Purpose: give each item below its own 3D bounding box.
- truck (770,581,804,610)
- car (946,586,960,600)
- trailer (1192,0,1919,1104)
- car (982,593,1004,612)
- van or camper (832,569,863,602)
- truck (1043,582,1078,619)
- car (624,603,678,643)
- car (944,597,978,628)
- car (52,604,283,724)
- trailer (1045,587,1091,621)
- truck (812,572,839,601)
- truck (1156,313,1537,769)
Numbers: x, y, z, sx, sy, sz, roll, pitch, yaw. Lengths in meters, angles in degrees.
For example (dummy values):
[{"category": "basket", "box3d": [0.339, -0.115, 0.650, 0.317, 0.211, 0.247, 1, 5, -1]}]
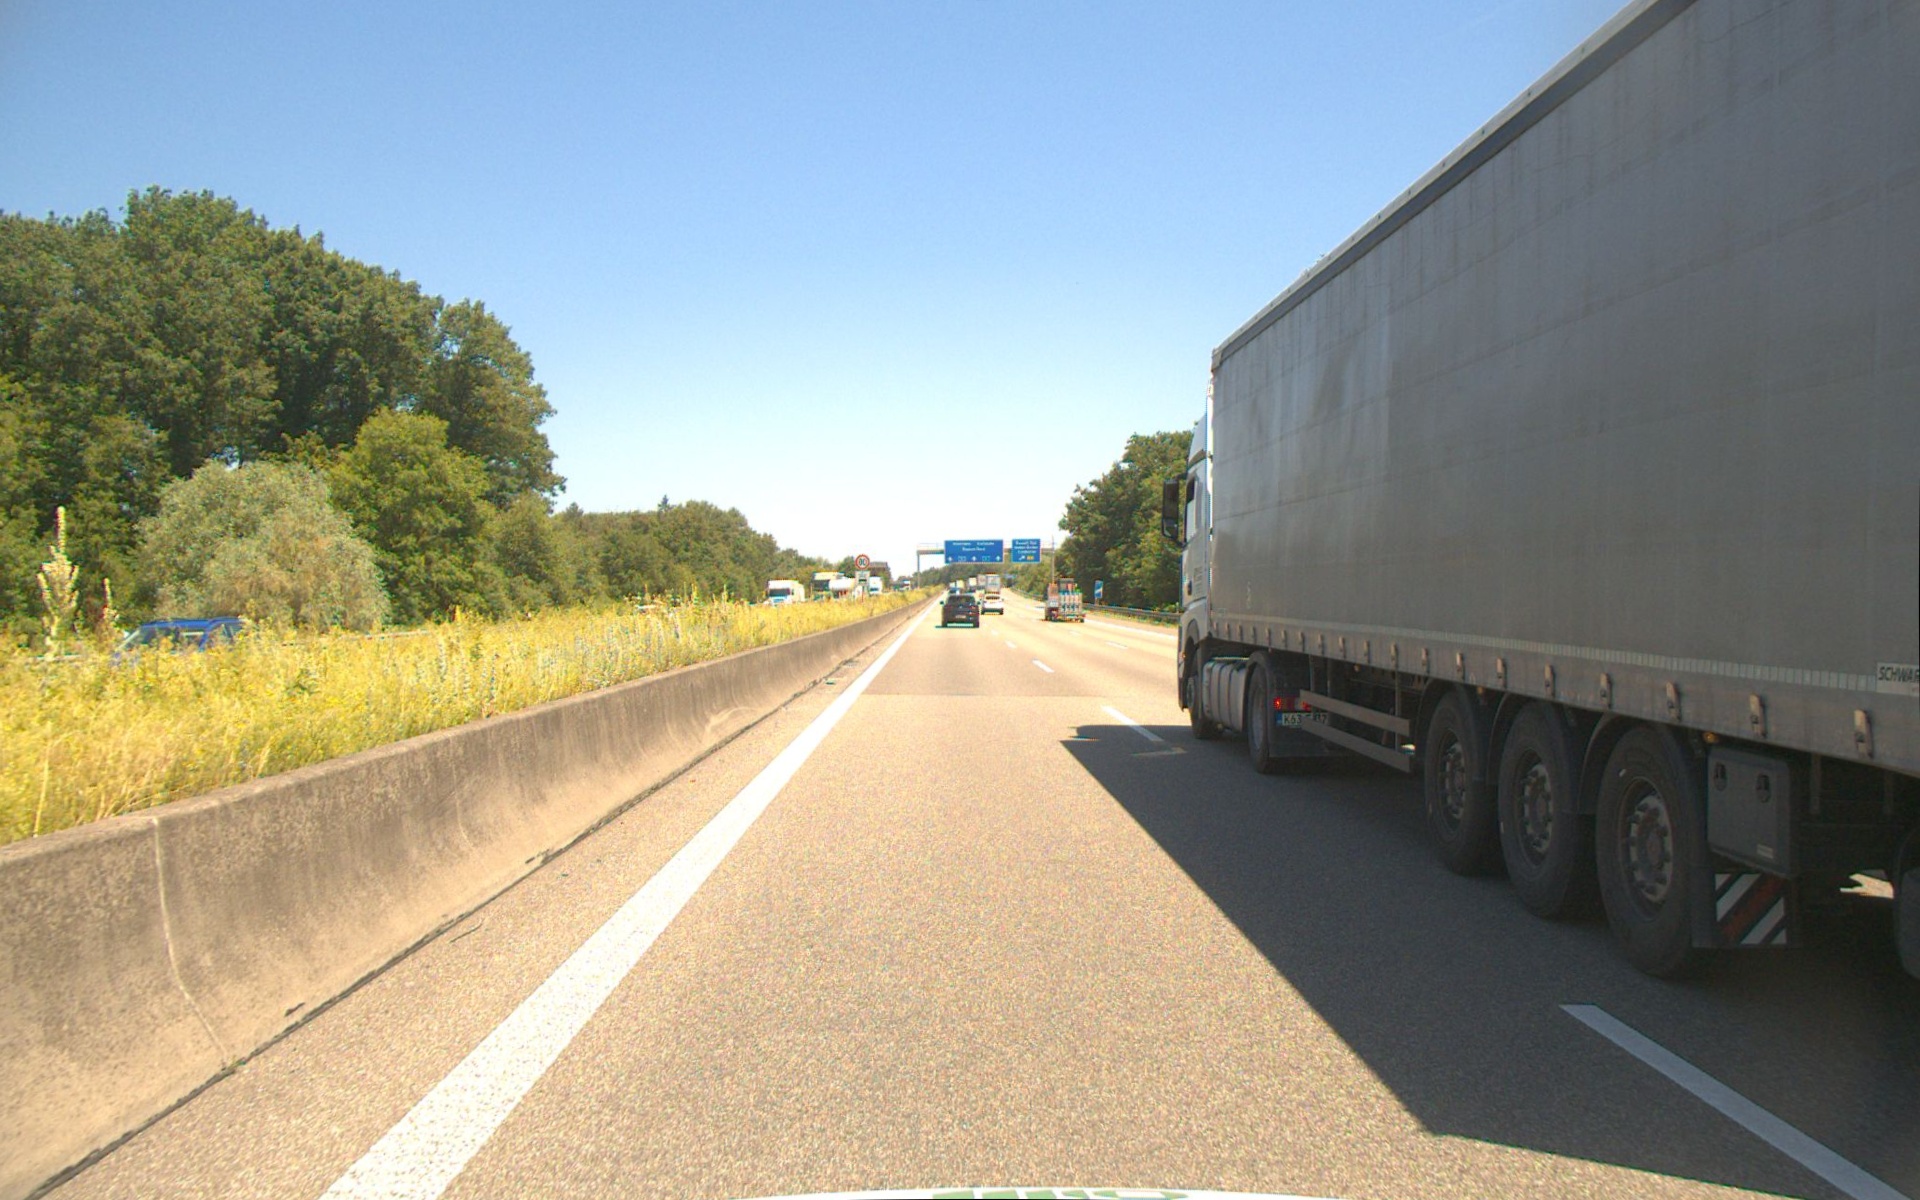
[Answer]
[{"category": "truck", "box3d": [-18.725, -0.521, 179.483, 2.632, 2.993, 10.485, 0, 0, -1]}, {"category": "car", "box3d": [-1.021, -1.078, 245.405, 1.953, 2.049, 3.999, -2, 0, -1]}, {"category": "trailer", "box3d": [4.038, -0.560, 11.186, 2.652, 4.139, 14.742, 0, 0, -1]}, {"category": "car", "box3d": [2.703, 0.205, 137.365, 1.704, 1.512, 3.999, 0, 0, -1]}, {"category": "van or camper", "box3d": [-11.318, -1.491, 166.782, 2.456, 3.210, 7.534, 1, 0, 0]}, {"category": "truck", "box3d": [6.720, -0.018, 111.124, 1.953, 2.415, 4.643, 0, 1, -2]}, {"category": "car", "box3d": [-13.519, 0.980, 72.462, 1.615, 1.673, 3.999, -1, 0, -1]}, {"category": "car", "box3d": [0.039, 0.654, 86.261, 1.626, 1.576, 3.782, 1, 0, -2]}, {"category": "car", "box3d": [-13.150, 0.994, 27.784, 1.894, 1.778, 4.486, -1, 0, -3]}, {"category": "trailer", "box3d": [6.872, 0.217, 105.759, 2.372, 2.049, 6.032, 0, 1, -2]}, {"category": "truck", "box3d": [-14.742, -1.510, 181.687, 2.553, 3.061, 6.971, 0, 0, -1]}, {"category": "truck", "box3d": [3.933, -0.526, 18.401, 2.645, 4.165, 6.452, 0, 0, -1]}]
